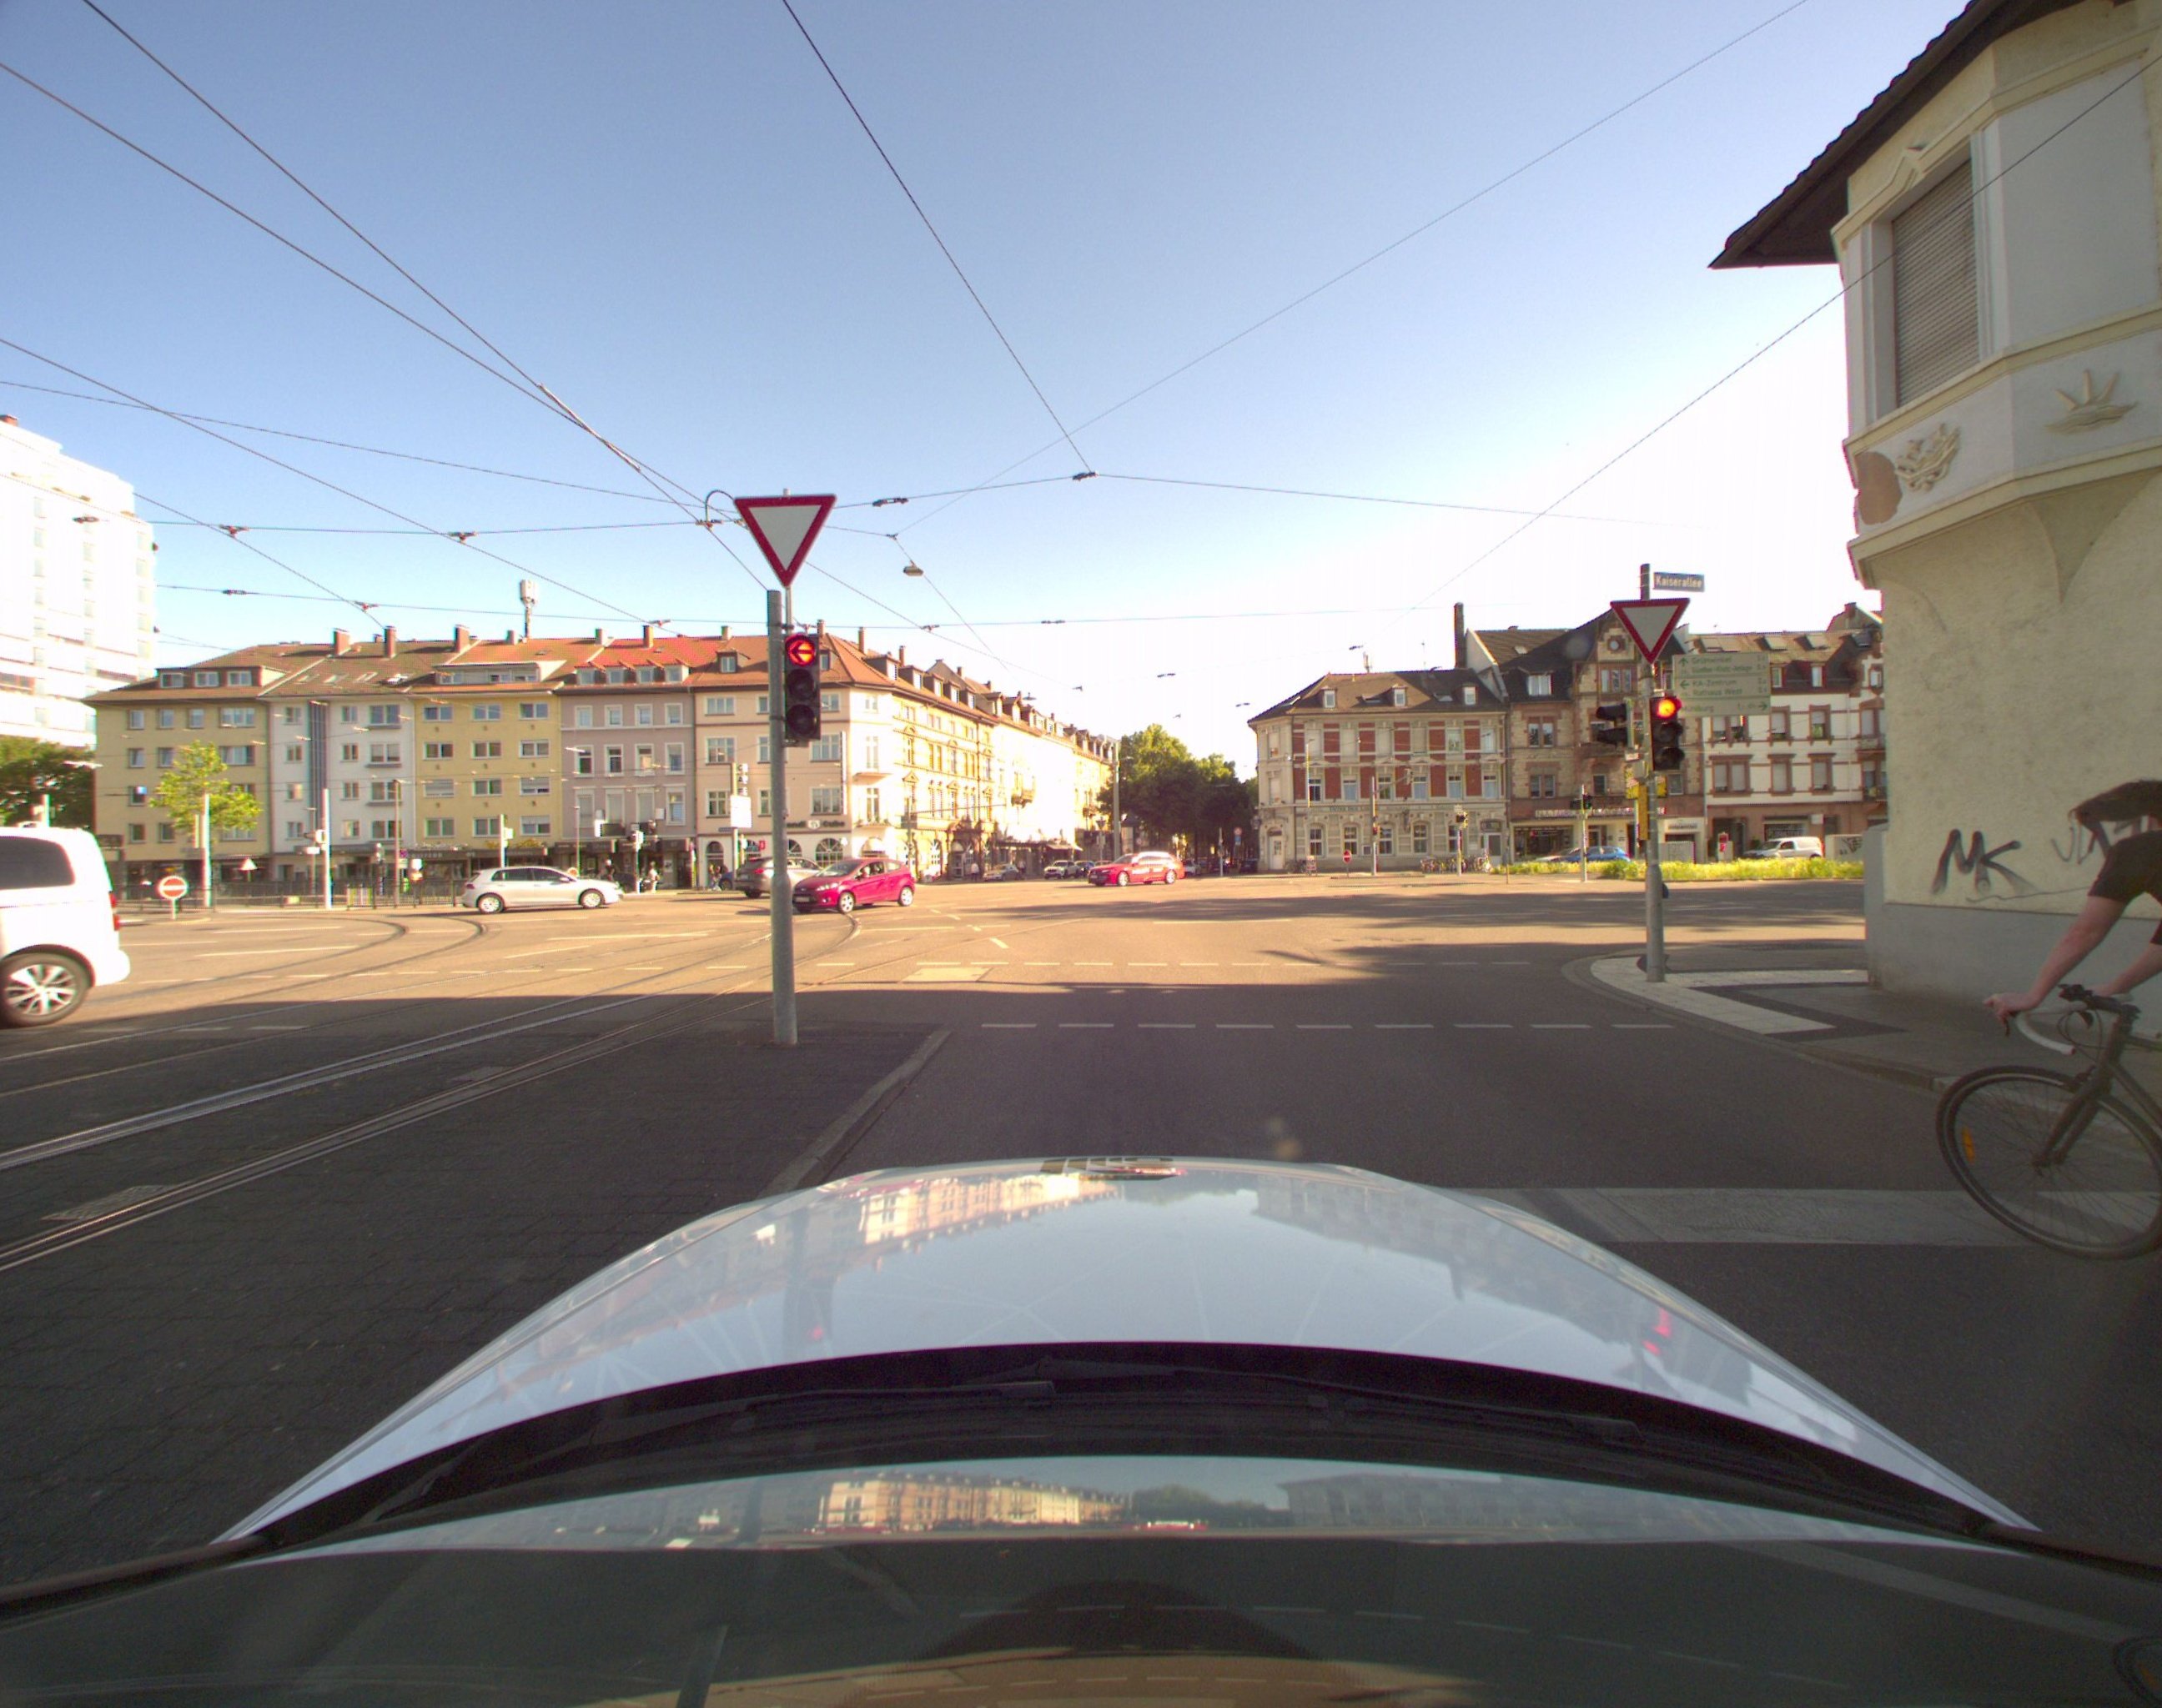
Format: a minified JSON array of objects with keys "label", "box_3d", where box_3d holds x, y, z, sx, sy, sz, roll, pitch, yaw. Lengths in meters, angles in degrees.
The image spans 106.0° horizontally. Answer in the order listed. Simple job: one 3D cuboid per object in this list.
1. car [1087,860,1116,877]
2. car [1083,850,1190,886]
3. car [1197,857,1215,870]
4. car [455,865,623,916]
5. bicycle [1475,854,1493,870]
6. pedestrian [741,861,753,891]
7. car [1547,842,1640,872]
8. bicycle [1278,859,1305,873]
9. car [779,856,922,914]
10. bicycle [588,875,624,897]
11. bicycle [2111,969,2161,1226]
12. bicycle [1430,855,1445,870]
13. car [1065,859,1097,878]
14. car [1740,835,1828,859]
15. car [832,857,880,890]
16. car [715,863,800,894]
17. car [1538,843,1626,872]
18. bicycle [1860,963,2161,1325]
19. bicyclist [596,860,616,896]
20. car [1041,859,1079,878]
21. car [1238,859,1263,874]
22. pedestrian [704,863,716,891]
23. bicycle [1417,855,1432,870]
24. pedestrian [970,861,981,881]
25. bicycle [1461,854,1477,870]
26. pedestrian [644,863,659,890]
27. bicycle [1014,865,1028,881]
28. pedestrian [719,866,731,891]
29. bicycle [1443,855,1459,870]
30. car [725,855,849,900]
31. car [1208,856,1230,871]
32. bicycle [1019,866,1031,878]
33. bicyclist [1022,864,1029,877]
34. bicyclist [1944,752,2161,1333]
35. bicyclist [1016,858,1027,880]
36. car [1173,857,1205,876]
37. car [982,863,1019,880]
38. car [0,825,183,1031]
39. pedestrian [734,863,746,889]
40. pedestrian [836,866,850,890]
[{"label":"car","box_3d":[2.000,1.427,79.671,1.788,1.575,3.908,-1,-1,17]},{"label":"car","box_3d":[2.588,0.590,37.485,4.895,1.469,1.784,-2,1,-36]},{"label":"car","box_3d":[17.886,1.347,116.366,1.978,1.684,4.018,-1,-1,17]},{"label":"car","box_3d":[-16.963,1.103,25.772,4.238,1.389,1.719,-2,0,-28]},{"label":"bicycle","box_3d":[26.072,0.534,52.733,0.785,1.016,2.221,-1,-1,20]},{"label":"pedestrian","box_3d":[-20.102,1.329,49.028,0.526,1.823,0.675,0,-1,-6]},{"label":"car","box_3d":[28.327,0.179,45.110,3.970,1.622,1.806,0,-1,3]},{"label":"bicycle","box_3d":[14.708,0.829,56.914,1.789,0.963,0.606,-1,-1,16]},{"label":"car","box_3d":[-6.388,0.795,22.985,1.575,1.426,3.906,-1,0,28]},{"label":"bicycle","box_3d":[-23.917,1.607,41.025,0.618,1.030,1.758,0,-1,7]},{"label":"bicycle","box_3d":[4.452,0.958,2.442,0.501,0.983,1.783,0,-1,2]},{"label":"bicycle","box_3d":[23.260,0.570,53.086,0.758,0.968,2.221,-1,-1,20]},{"label":"car","box_3d":[0.028,1.291,73.882,1.809,1.685,3.893,-1,-1,18]},{"label":"car","box_3d":[45.222,-0.442,52.424,3.961,1.438,1.874,0,-1,5]},{"label":"car","box_3d":[-11.294,0.954,41.120,1.783,1.503,3.909,-2,1,-8]},{"label":"car","box_3d":[-17.244,1.295,43.415,4.147,1.575,1.842,-1,0,24]},{"label":"car","box_3d":[29.098,0.192,47.370,3.970,1.622,1.806,0,-1,3]},{"label":"bicycle","box_3d":[3.582,0.959,2.621,0.480,0.991,1.783,0,-1,2]},{"label":"bicyclist","box_3d":[-23.919,1.212,41.041,0.618,1.790,0.616,0,-1,7]},{"label":"car","box_3d":[-1.680,1.179,67.475,1.788,1.585,4.179,-1,-1,19]},{"label":"car","box_3d":[17.152,1.253,82.223,1.741,1.556,4.021,-1,-1,22]},{"label":"pedestrian","box_3d":[-22.119,1.384,48.544,0.520,1.648,0.498,0,-1,1]},{"label":"bicycle","box_3d":[22.504,0.577,53.353,0.758,0.963,2.221,-1,-1,20]},{"label":"pedestrian","box_3d":[-8.772,1.415,67.780,0.562,1.642,0.797,-1,-1,25]},{"label":"bicycle","box_3d":[25.185,0.542,52.860,0.758,1.007,2.231,-1,-1,20]},{"label":"pedestrian","box_3d":[-26.384,1.400,50.028,0.582,1.648,0.616,0,-1,1]},{"label":"bicycle","box_3d":[-4.791,1.487,65.276,0.561,1.254,1.564,-1,-1,17]},{"label":"pedestrian","box_3d":[-21.030,1.443,48.113,0.489,1.492,0.556,0,-1,1]},{"label":"bicycle","box_3d":[24.046,0.563,52.962,0.758,0.983,2.221,-1,-1,20]},{"label":"car","box_3d":[-11.823,0.918,33.024,1.850,1.602,4.483,-2,0,33]},{"label":"car","box_3d":[14.266,0.973,84.055,1.812,1.403,4.016,-1,0,15]},{"label":"bicycle","box_3d":[-4.659,1.505,67.526,0.469,0.922,1.458,-1,-1,17]},{"label":"bicyclist","box_3d":[-4.614,1.375,67.690,0.469,1.040,0.540,-1,-1,17]},{"label":"bicyclist","box_3d":[3.578,0.573,2.625,0.587,1.767,0.936,0,-1,2]},{"label":"bicyclist","box_3d":[-4.800,1.206,65.287,0.561,1.804,0.918,-1,-1,17]},{"label":"car","box_3d":[9.222,1.071,69.265,1.876,1.454,4.028,-2,1,19]},{"label":"car","box_3d":[-6.618,1.449,67.343,1.647,1.374,3.909,-1,-1,17]},{"label":"car","box_3d":[-10.913,0.715,6.174,1.982,1.854,5.228,-2,0,8]},{"label":"pedestrian","box_3d":[-21.490,1.372,51.288,0.520,1.648,0.498,0,-1,1]},{"label":"pedestrian","box_3d":[-15.586,1.561,53.261,0.666,1.594,0.815,0,-1,1]}]
